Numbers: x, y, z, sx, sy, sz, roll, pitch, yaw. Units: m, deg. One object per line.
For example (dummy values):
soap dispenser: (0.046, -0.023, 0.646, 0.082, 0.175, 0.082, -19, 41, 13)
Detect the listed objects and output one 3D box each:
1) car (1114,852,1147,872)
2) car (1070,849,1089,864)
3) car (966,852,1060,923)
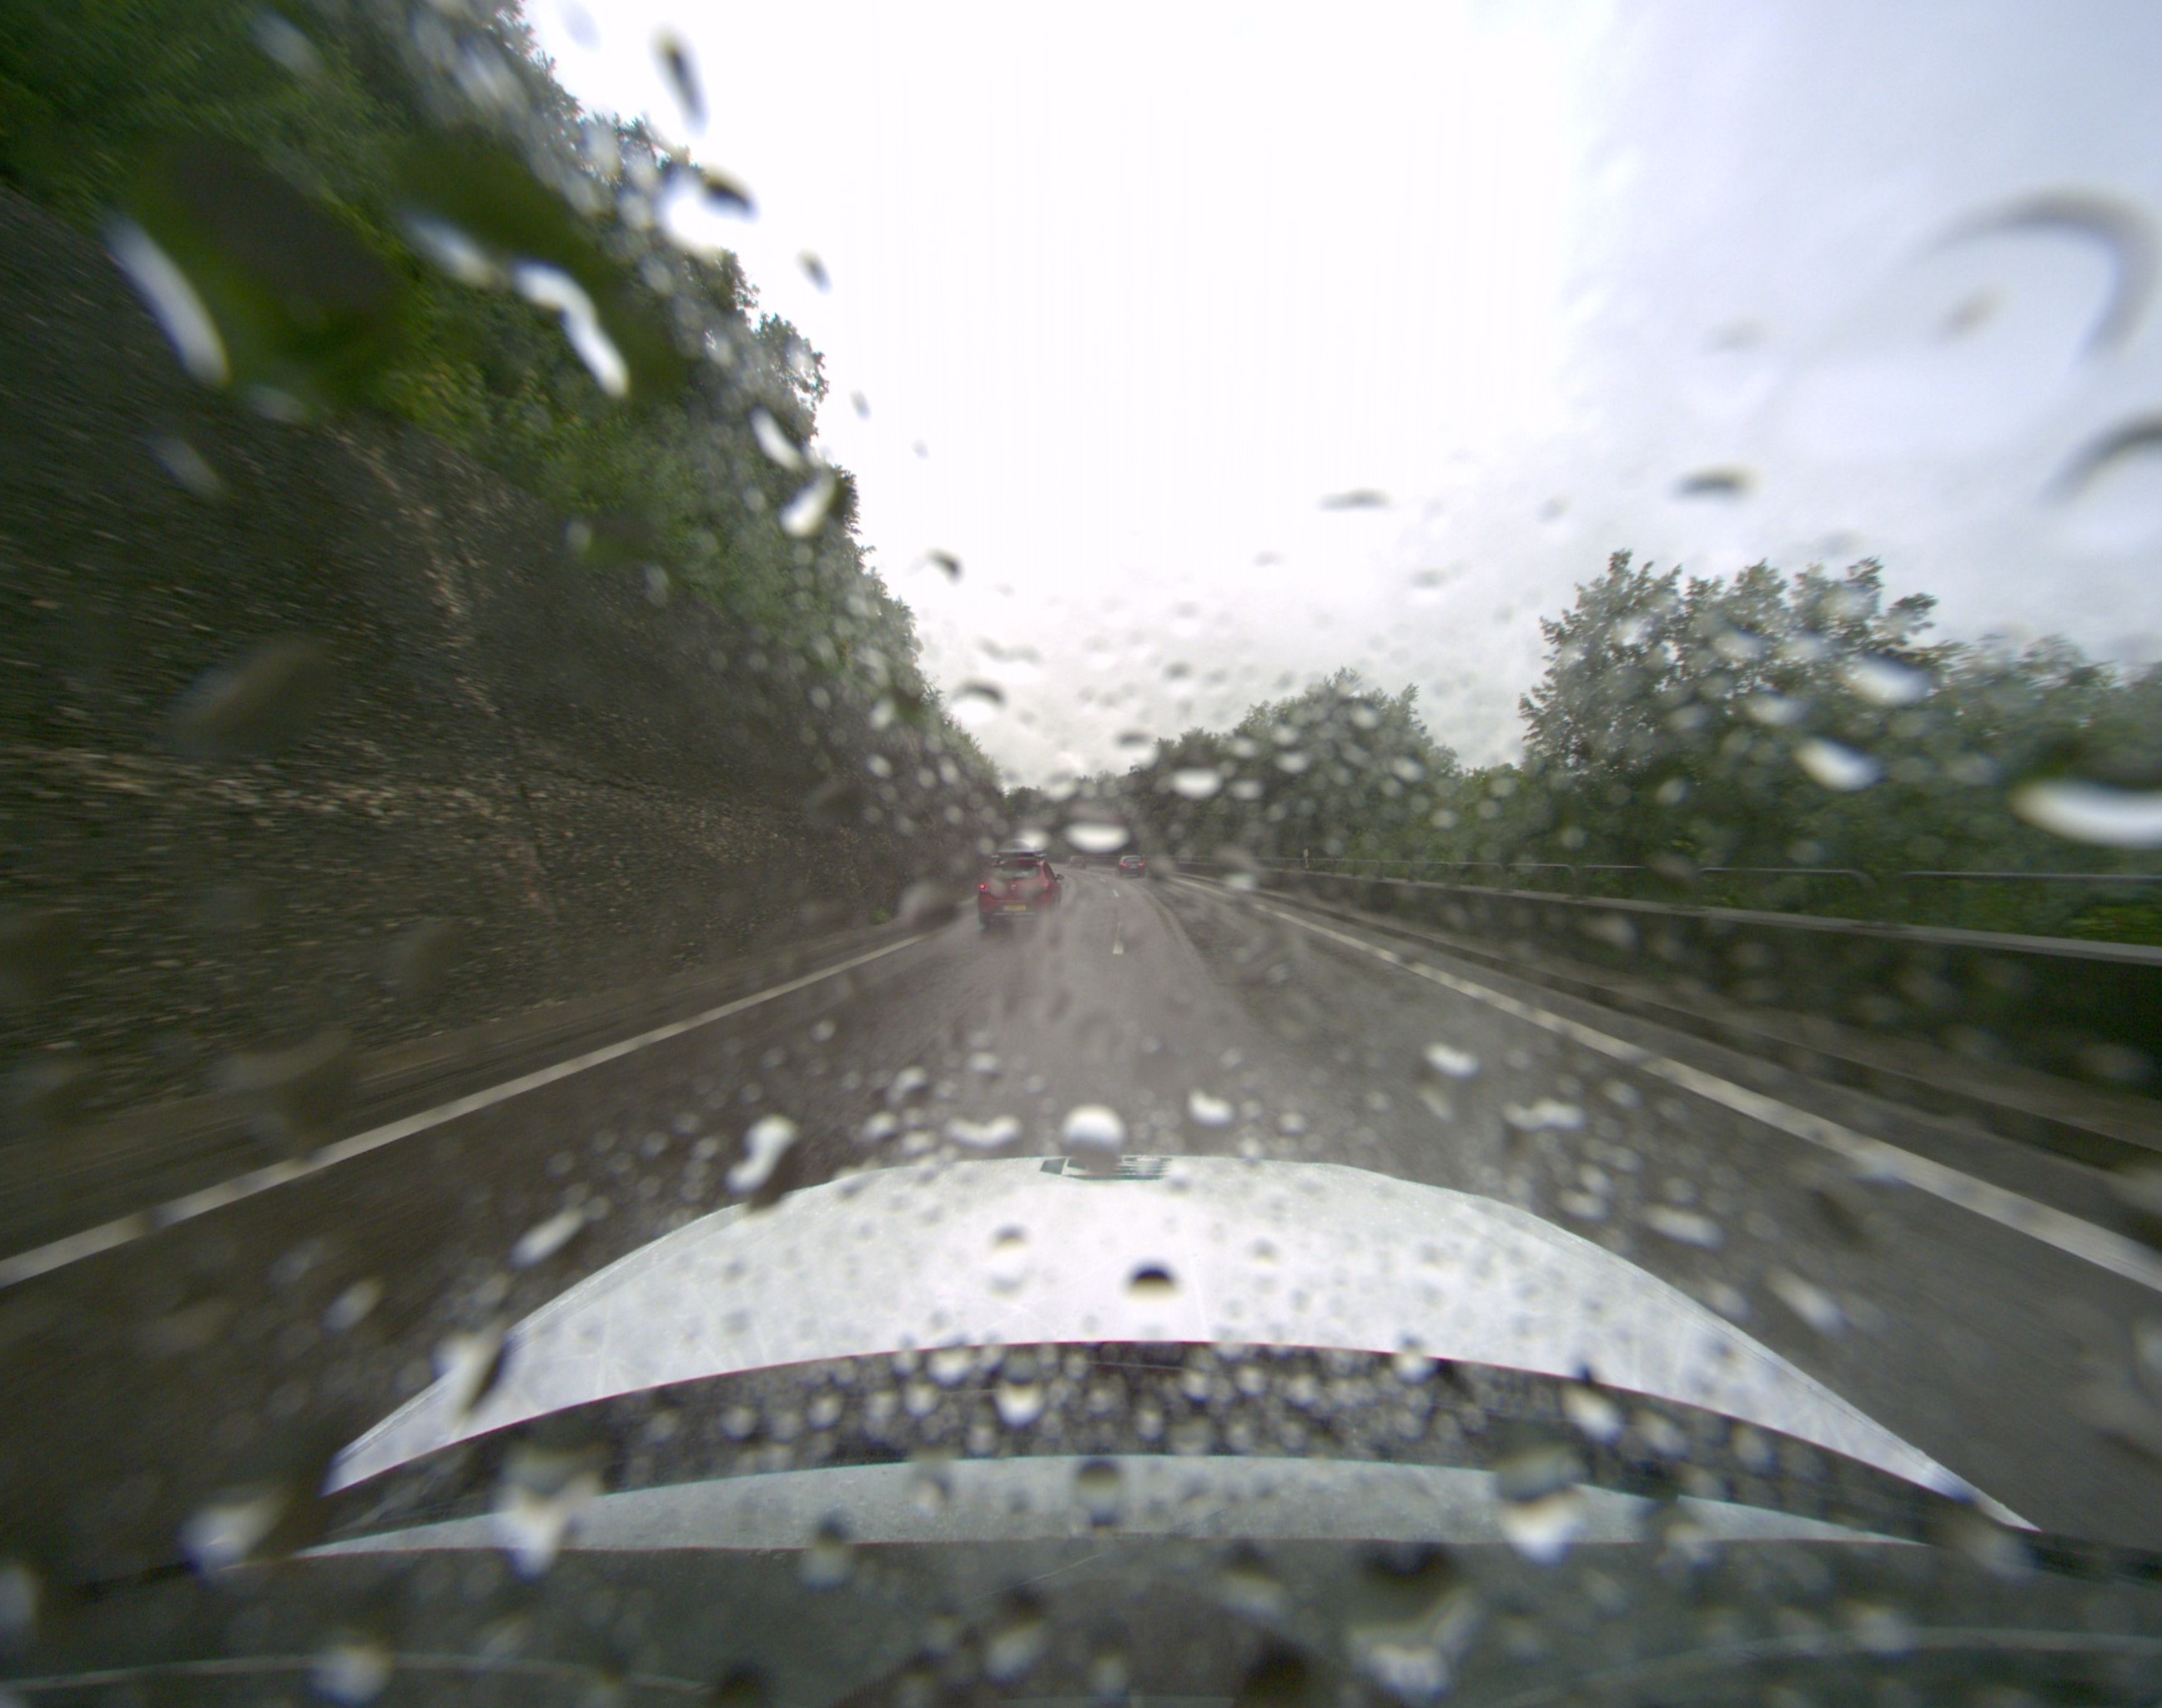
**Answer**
car: (3.413, 0.561, 56.492, 1.797, 1.307, 3.994, -1, 0, -4)
car: (-0.197, 0.303, 93.662, 1.988, 1.750, 3.997, -1, -1, -2)
car: (-1.586, 0.753, 20.337, 1.987, 1.552, 3.999, -1, 0, 0)
